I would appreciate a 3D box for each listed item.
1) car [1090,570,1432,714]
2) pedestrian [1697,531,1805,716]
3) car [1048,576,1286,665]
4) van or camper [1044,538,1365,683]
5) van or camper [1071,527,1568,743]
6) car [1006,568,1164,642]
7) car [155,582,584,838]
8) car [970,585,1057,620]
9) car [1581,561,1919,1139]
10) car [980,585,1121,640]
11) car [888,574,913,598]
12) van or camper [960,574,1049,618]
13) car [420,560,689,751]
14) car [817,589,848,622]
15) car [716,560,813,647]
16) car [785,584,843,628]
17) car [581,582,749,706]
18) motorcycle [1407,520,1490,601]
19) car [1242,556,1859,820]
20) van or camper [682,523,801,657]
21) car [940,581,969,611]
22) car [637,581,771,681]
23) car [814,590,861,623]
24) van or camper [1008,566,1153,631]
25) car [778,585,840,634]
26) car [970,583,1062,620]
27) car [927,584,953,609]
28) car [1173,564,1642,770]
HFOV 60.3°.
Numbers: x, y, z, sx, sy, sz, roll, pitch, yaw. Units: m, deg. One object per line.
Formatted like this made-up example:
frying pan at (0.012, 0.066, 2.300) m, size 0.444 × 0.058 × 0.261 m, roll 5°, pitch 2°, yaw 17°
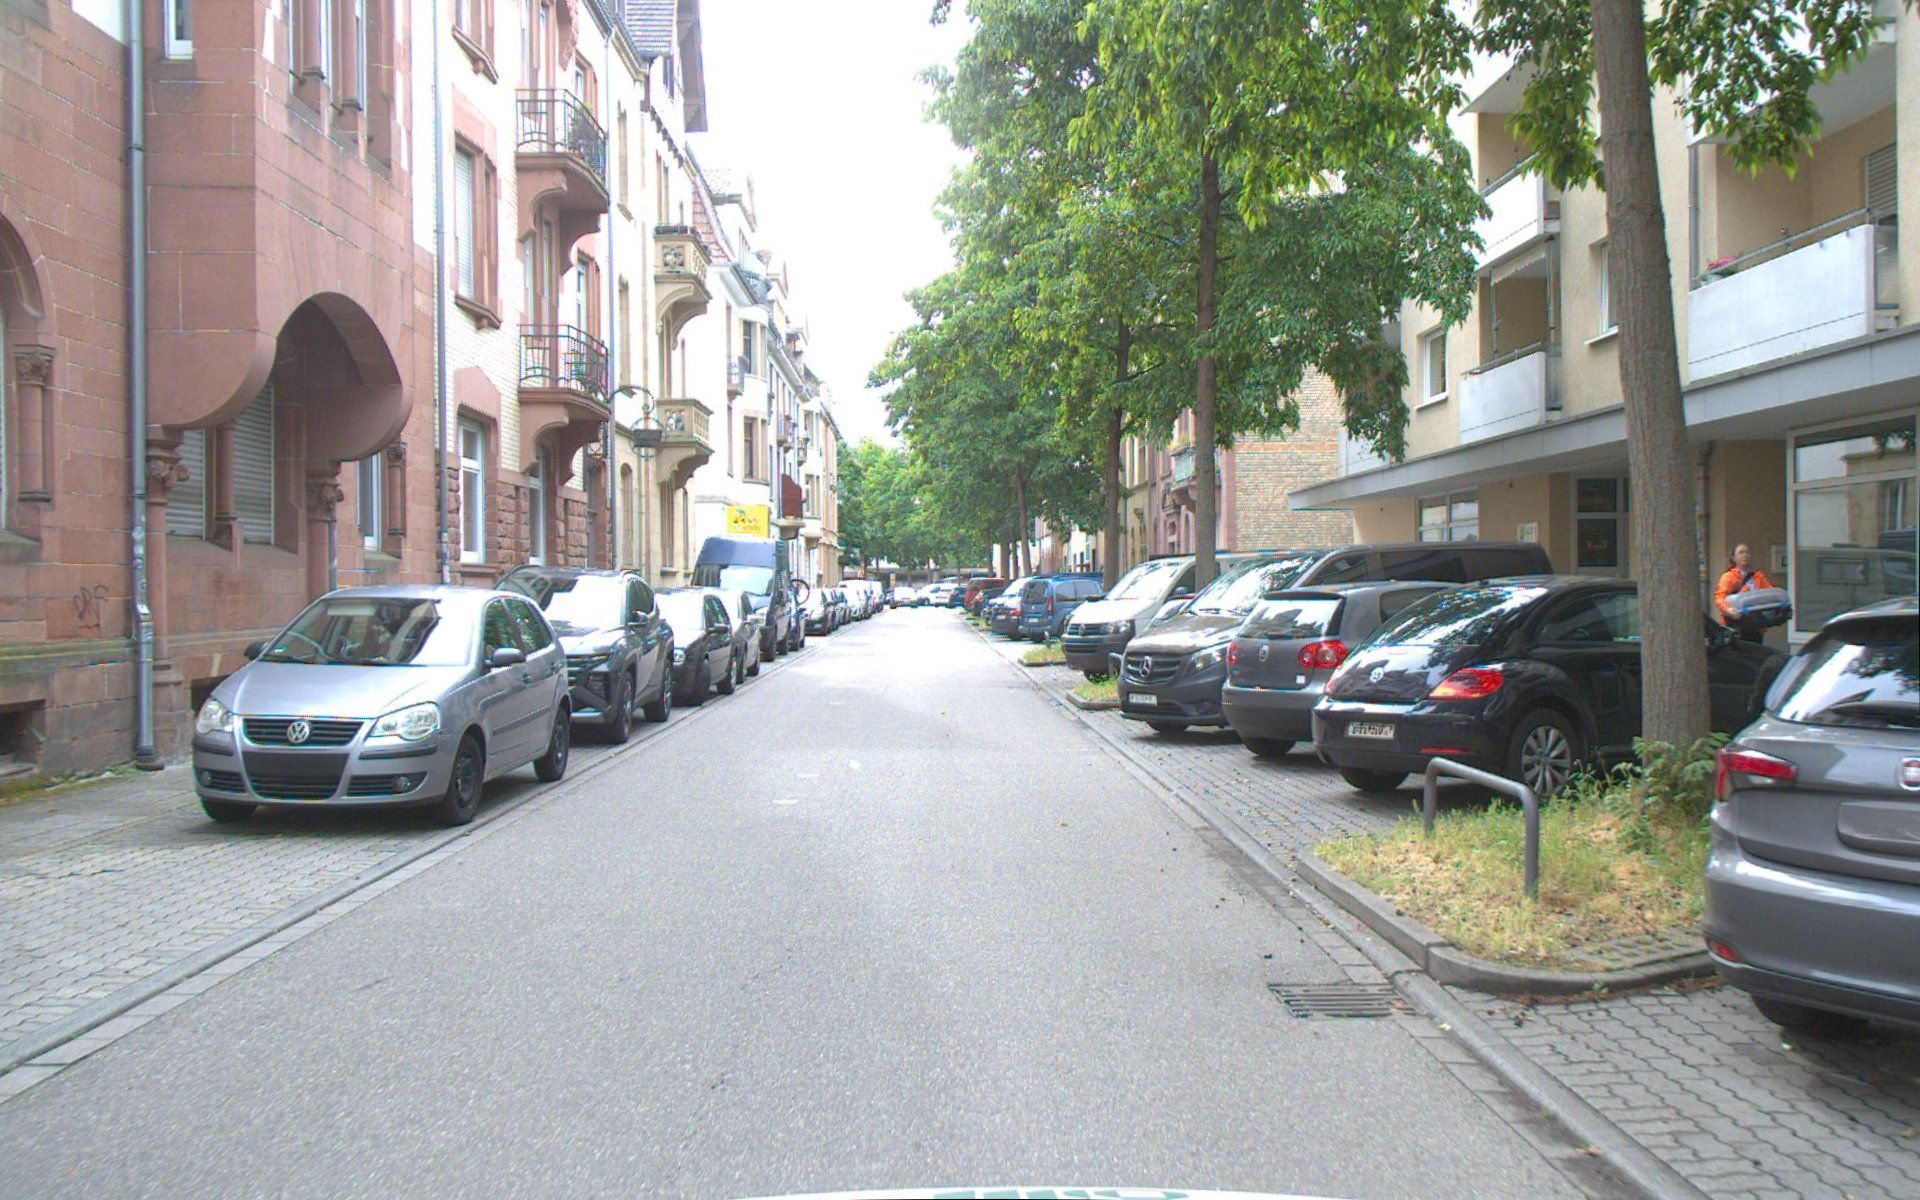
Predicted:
car at (3.752, 0.463, 20.431) m, size 3.959 × 1.469 × 1.821 m, roll -3°, pitch 1°, yaw -33°
pedestrian at (7.850, 0.222, 16.449) m, size 0.611 × 1.772 × 0.849 m, roll -2°, pitch 0°, yaw -1°
car at (3.980, 0.361, 31.595) m, size 4.262 × 1.417 × 1.901 m, roll -3°, pitch 1°, yaw -33°
van or camper at (3.866, 0.155, 26.094) m, size 4.674 × 2.029 × 1.983 m, roll -2°, pitch -1°, yaw -27°
van or camper at (3.839, 0.284, 17.443) m, size 4.952 × 1.902 × 2.106 m, roll -3°, pitch 0°, yaw -29°
car at (3.610, 0.129, 47.614) m, size 4.130 × 1.902 × 1.979 m, roll -3°, pitch 0°, yaw -31°
car at (-3.833, 0.615, 11.464) m, size 1.629 × 1.445 × 3.928 m, roll 1°, pitch 1°, yaw -1°
car at (2.374, 0.092, 74.152) m, size 3.689 × 1.490 × 1.727 m, roll -1°, pitch 0°, yaw -7°
car at (4.315, 0.589, 5.508) m, size 4.167 × 1.526 × 1.957 m, roll -3°, pitch 0°, yaw -29°
car at (2.773, 0.355, 50.422) m, size 3.972 × 1.586 × 1.864 m, roll -1°, pitch 0°, yaw -32°
car at (-4.444, -1.032, 124.265) m, size 1.784 × 1.673 × 3.752 m, roll 1°, pitch -1°, yaw -2°
van or camper at (2.274, -0.219, 83.761) m, size 4.102 × 2.122 × 1.934 m, roll -1°, pitch 0°, yaw -29°
car at (-3.962, 0.467, 16.896) m, size 1.750 × 1.675 × 4.360 m, roll 1°, pitch 1°, yaw -1°
car at (-5.309, 0.226, 69.097) m, size 1.113 × 1.332 × 3.259 m, roll -1°, pitch 0°, yaw -2°
car at (-4.860, 0.058, 41.748) m, size 1.953 × 2.049 × 4.890 m, roll -1°, pitch 0°, yaw -1°
car at (-5.167, 0.188, 58.989) m, size 1.792 × 1.451 × 3.800 m, roll 2°, pitch 0°, yaw -2°
car at (-3.889, 0.525, 22.370) m, size 1.601 × 1.498 × 3.999 m, roll 1°, pitch 0°, yaw -1°
motorcycle at (8.559, -0.679, 29.061) m, size 0.664 × 1.323 × 2.252 m, roll -3°, pitch 0°, yaw -2°
car at (4.206, 0.514, 11.734) m, size 3.993 × 1.509 × 1.930 m, roll -2°, pitch 0°, yaw -28°
van or camper at (-4.686, -0.224, 36.210) m, size 1.967 × 2.698 × 5.315 m, roll -1°, pitch 0°, yaw -1°
car at (-0.415, -0.314, 120.803) m, size 1.953 × 2.049 × 3.999 m, roll 2°, pitch 0°, yaw -2°
car at (-4.129, 0.493, 27.252) m, size 1.634 × 1.499 × 3.999 m, roll 1°, pitch -1°, yaw -1°
car at (-5.633, 0.280, 76.585) m, size 1.953 × 1.501 × 3.999 m, roll -1°, pitch 0°, yaw -1°
van or camper at (4.187, -0.076, 57.235) m, size 4.730 × 2.175 × 2.033 m, roll -1°, pitch 0°, yaw -33°
car at (-4.847, 0.285, 53.411) m, size 1.753 × 1.506 × 4.021 m, roll 0°, pitch 0°, yaw -2°
car at (2.343, 0.054, 69.610) m, size 3.689 × 1.490 × 1.727 m, roll -1°, pitch 0°, yaw -7°
car at (-1.542, -0.249, 128.379) m, size 1.953 × 1.825 × 3.999 m, roll 1°, pitch -1°, yaw -1°
car at (3.997, 0.513, 14.684) m, size 3.810 × 1.528 × 1.893 m, roll -2°, pitch 0°, yaw -31°
